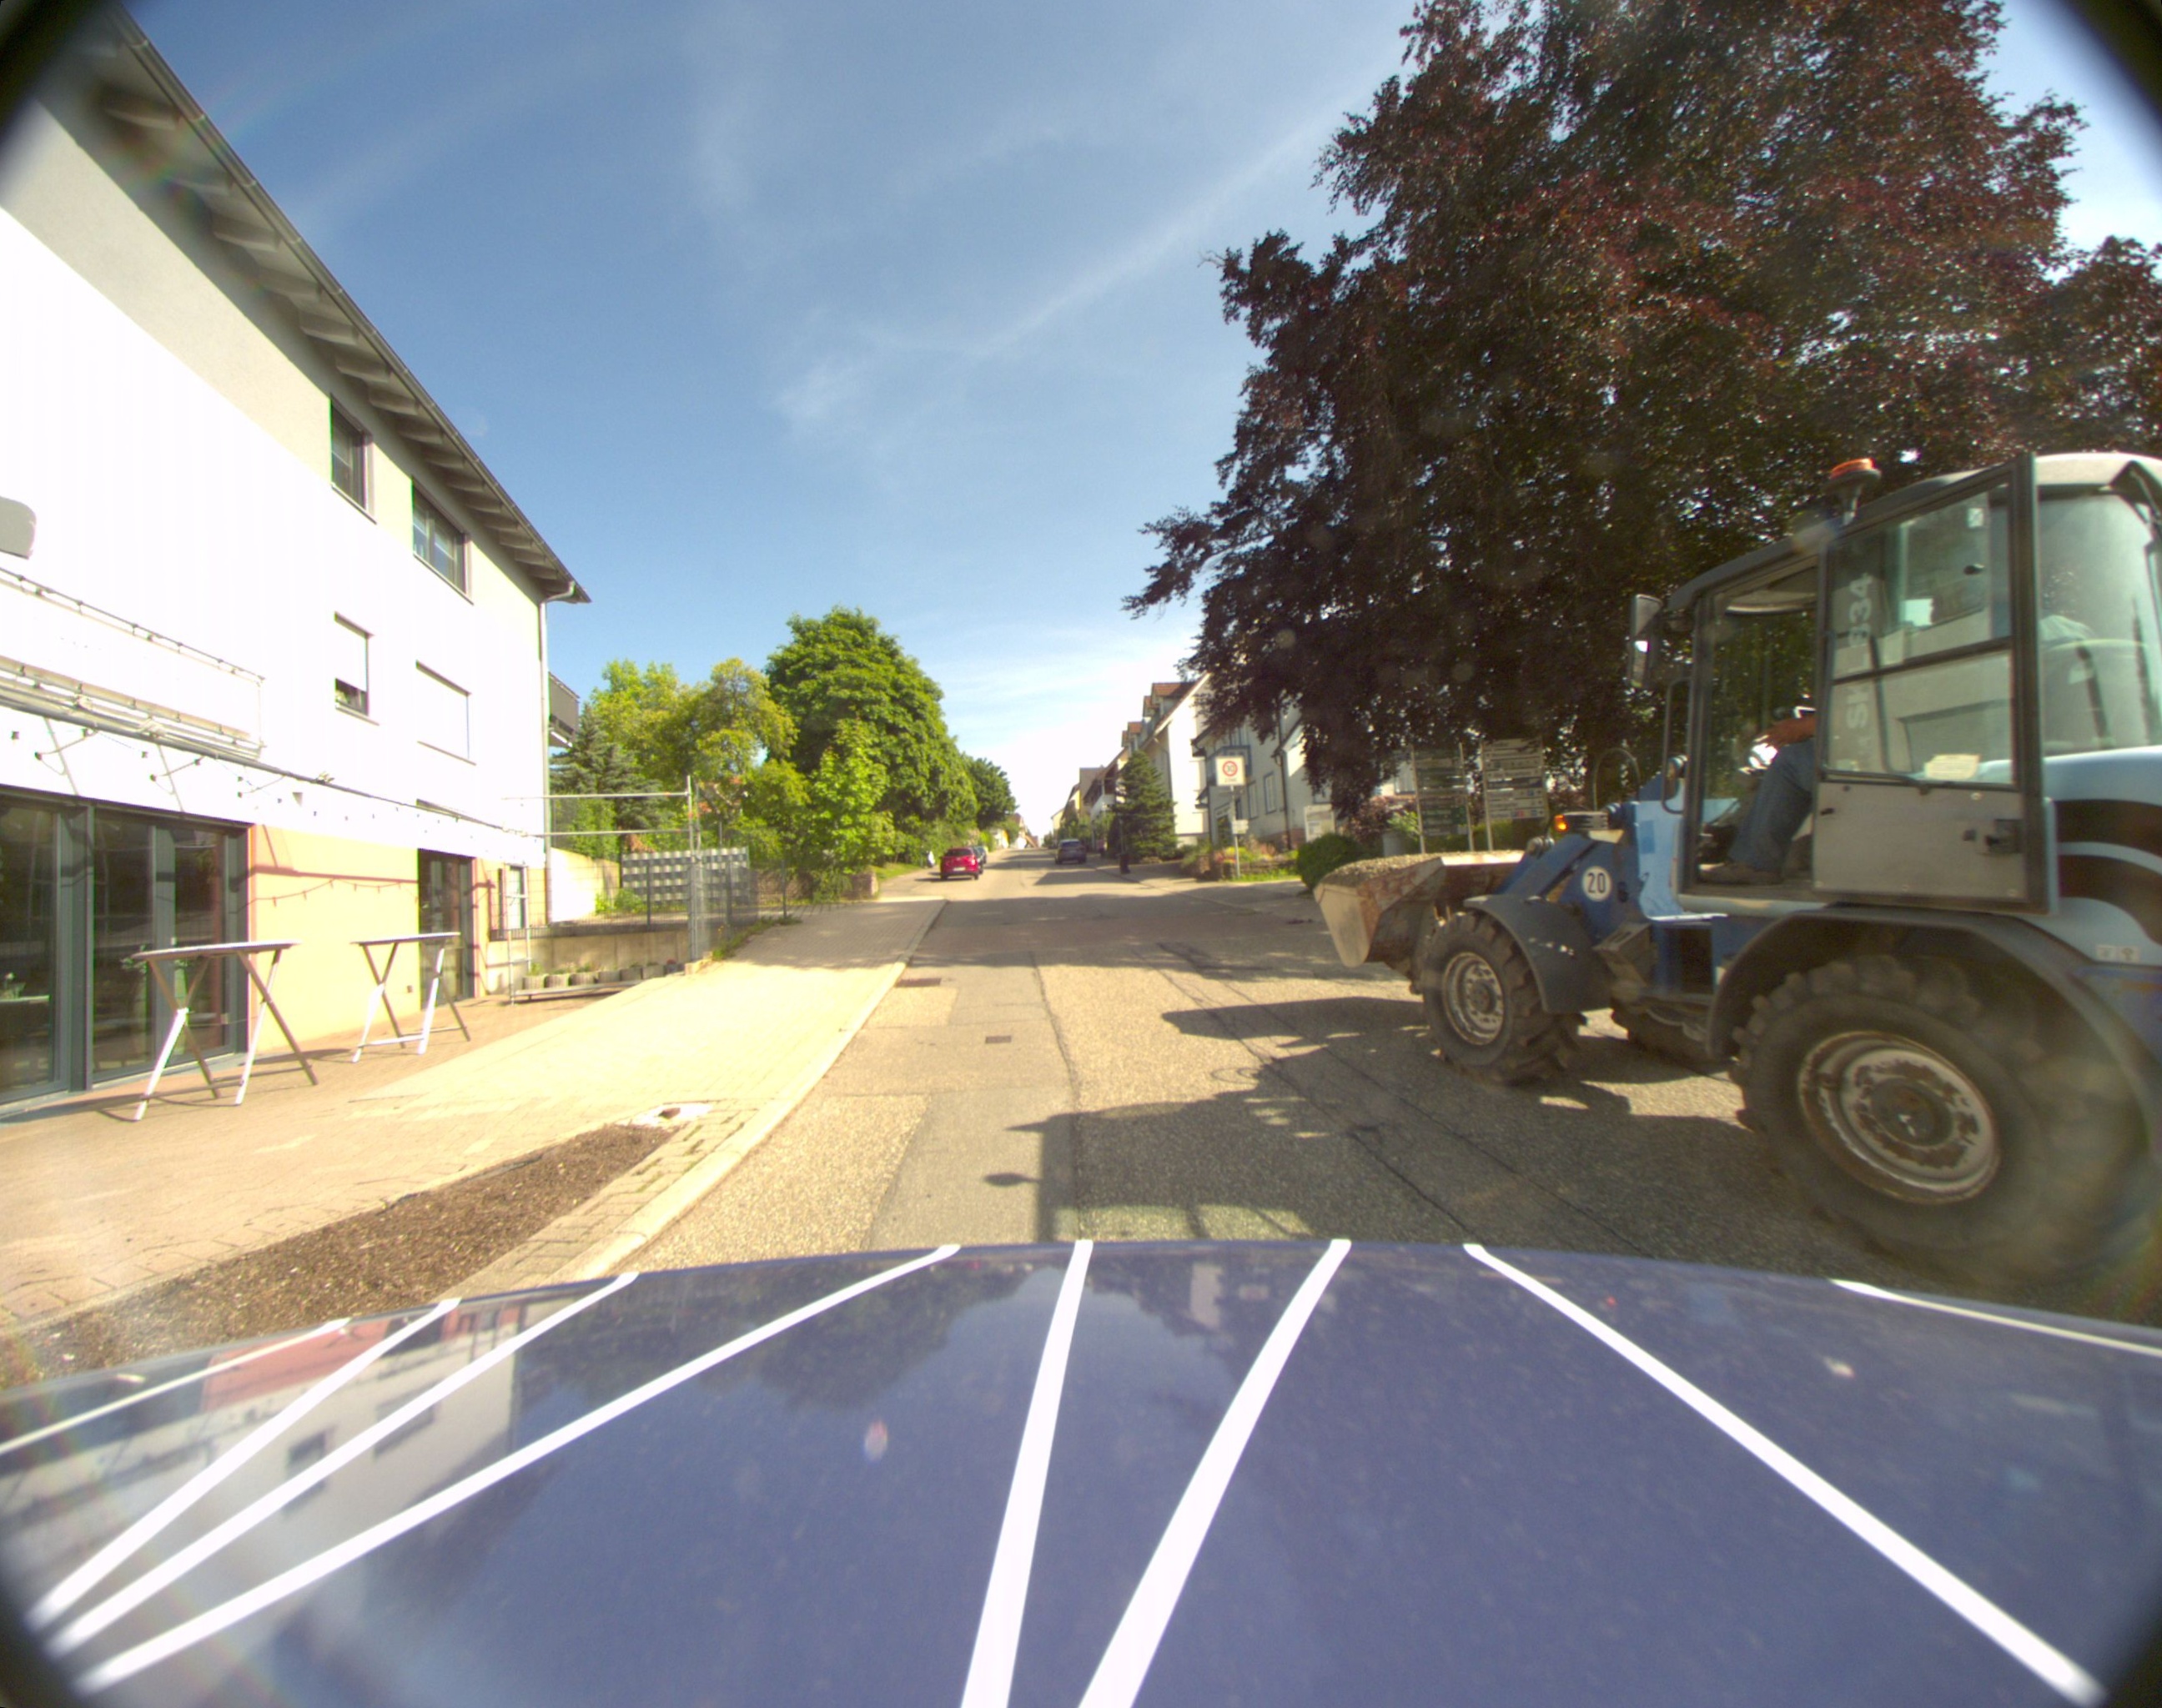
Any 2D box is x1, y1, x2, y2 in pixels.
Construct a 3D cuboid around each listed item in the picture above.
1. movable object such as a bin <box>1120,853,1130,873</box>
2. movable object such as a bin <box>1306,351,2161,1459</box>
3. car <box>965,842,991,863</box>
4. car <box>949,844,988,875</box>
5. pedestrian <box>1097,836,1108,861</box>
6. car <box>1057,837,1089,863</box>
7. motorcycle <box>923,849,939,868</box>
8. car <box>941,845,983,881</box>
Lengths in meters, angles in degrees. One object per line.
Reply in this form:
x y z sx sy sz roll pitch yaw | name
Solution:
1.891 0.376 32.970 0.351 0.859 0.395 -2 1 -5 | movable object such as a bin
3.327 0.106 3.942 2.000 2.753 5.100 -2 1 -10 | movable object such as a bin
-8.003 -0.156 59.197 1.776 1.462 3.808 -3 1 -5 | car
-5.989 0.251 40.794 1.776 1.462 3.808 -3 1 -5 | car
1.394 -0.371 49.302 0.668 1.566 0.780 -2 2 1 | pedestrian
-0.609 -0.293 51.938 1.808 1.592 3.808 -3 1 -5 | car
-9.824 0.268 49.821 0.785 1.175 2.186 -2 1 -7 | motorcycle
-5.449 0.376 35.176 1.624 1.489 3.808 -3 1 -5 | car
